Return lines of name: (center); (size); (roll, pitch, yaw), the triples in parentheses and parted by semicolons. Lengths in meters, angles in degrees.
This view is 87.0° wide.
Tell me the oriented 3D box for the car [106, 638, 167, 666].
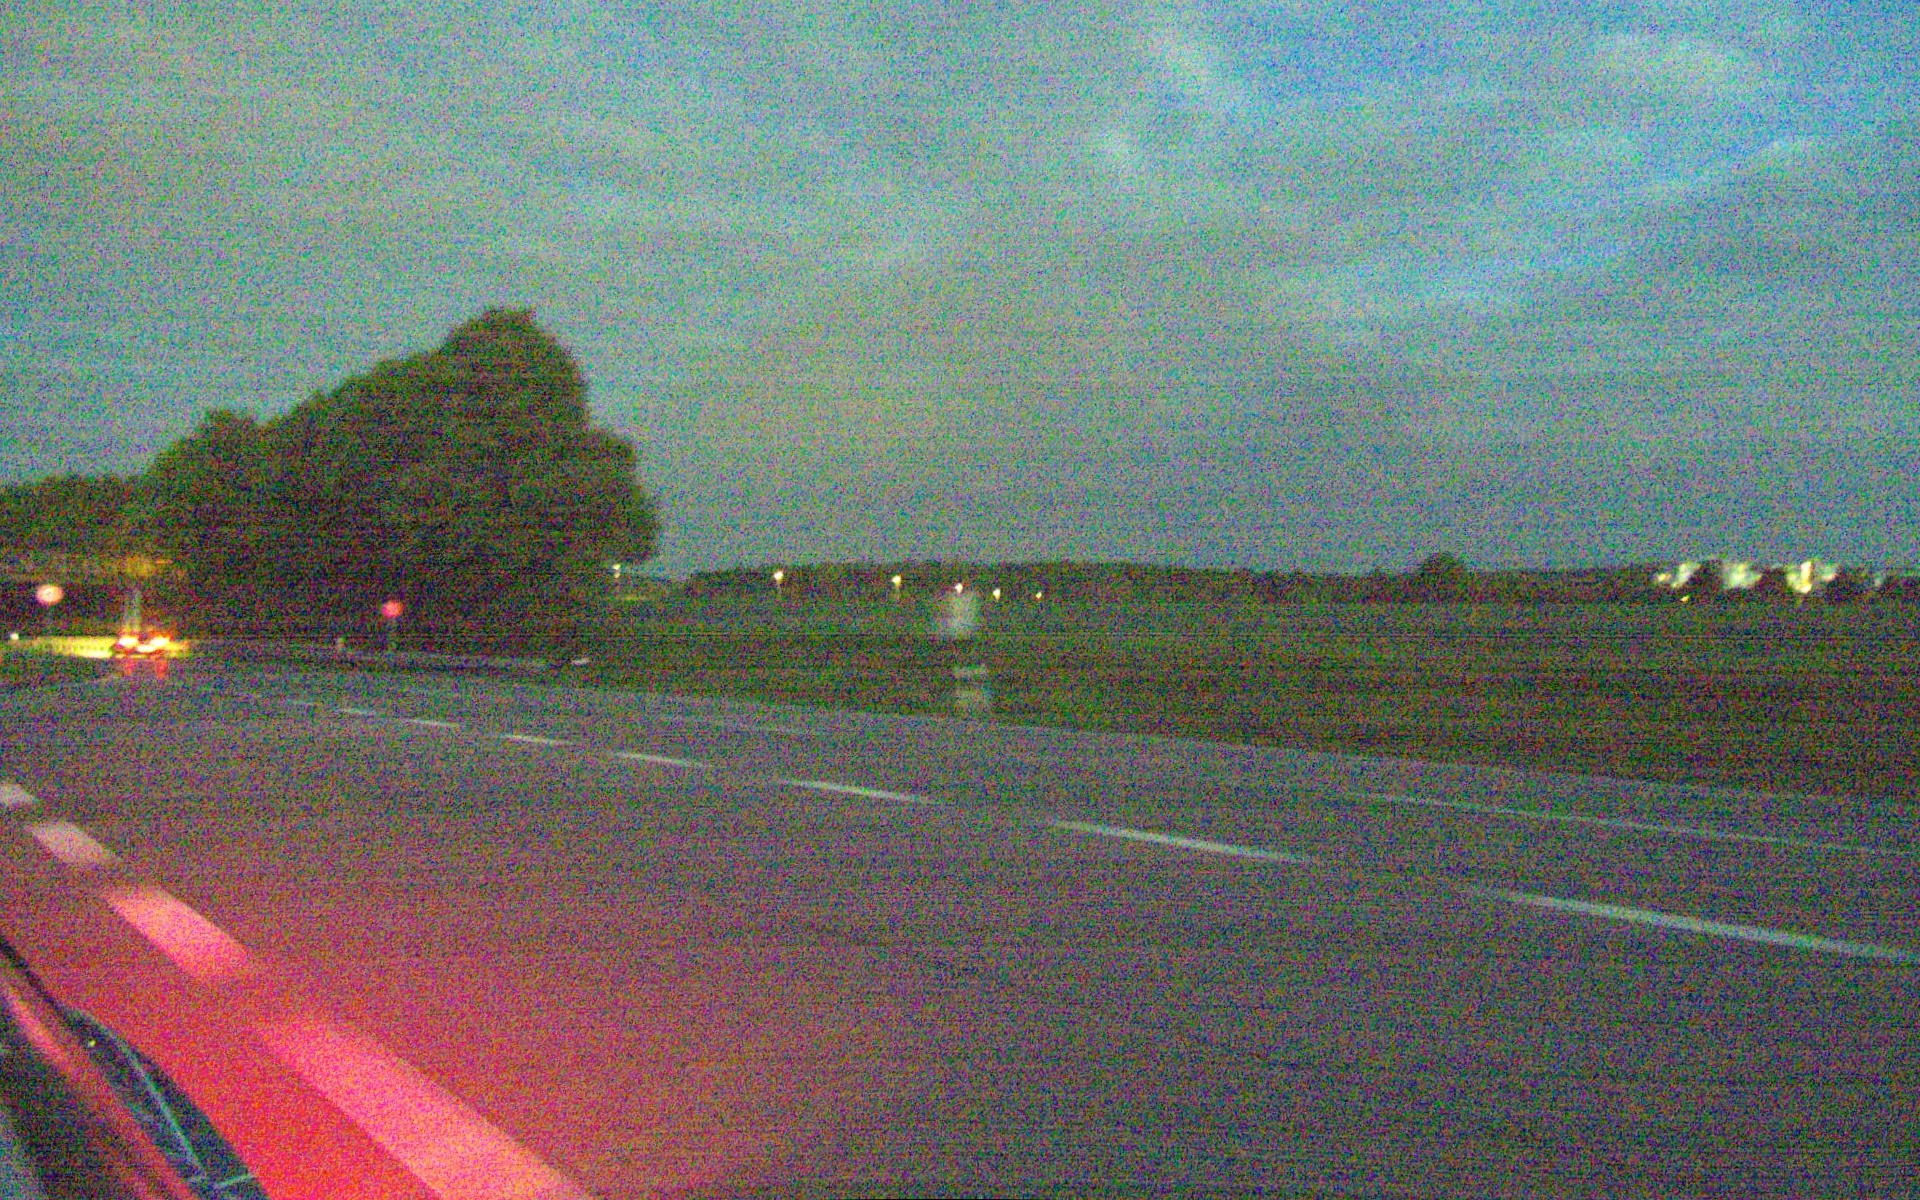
car: (-40.984, 2.561, 50.345); (3.936, 1.340, 1.589); (-2, -4, 40)
